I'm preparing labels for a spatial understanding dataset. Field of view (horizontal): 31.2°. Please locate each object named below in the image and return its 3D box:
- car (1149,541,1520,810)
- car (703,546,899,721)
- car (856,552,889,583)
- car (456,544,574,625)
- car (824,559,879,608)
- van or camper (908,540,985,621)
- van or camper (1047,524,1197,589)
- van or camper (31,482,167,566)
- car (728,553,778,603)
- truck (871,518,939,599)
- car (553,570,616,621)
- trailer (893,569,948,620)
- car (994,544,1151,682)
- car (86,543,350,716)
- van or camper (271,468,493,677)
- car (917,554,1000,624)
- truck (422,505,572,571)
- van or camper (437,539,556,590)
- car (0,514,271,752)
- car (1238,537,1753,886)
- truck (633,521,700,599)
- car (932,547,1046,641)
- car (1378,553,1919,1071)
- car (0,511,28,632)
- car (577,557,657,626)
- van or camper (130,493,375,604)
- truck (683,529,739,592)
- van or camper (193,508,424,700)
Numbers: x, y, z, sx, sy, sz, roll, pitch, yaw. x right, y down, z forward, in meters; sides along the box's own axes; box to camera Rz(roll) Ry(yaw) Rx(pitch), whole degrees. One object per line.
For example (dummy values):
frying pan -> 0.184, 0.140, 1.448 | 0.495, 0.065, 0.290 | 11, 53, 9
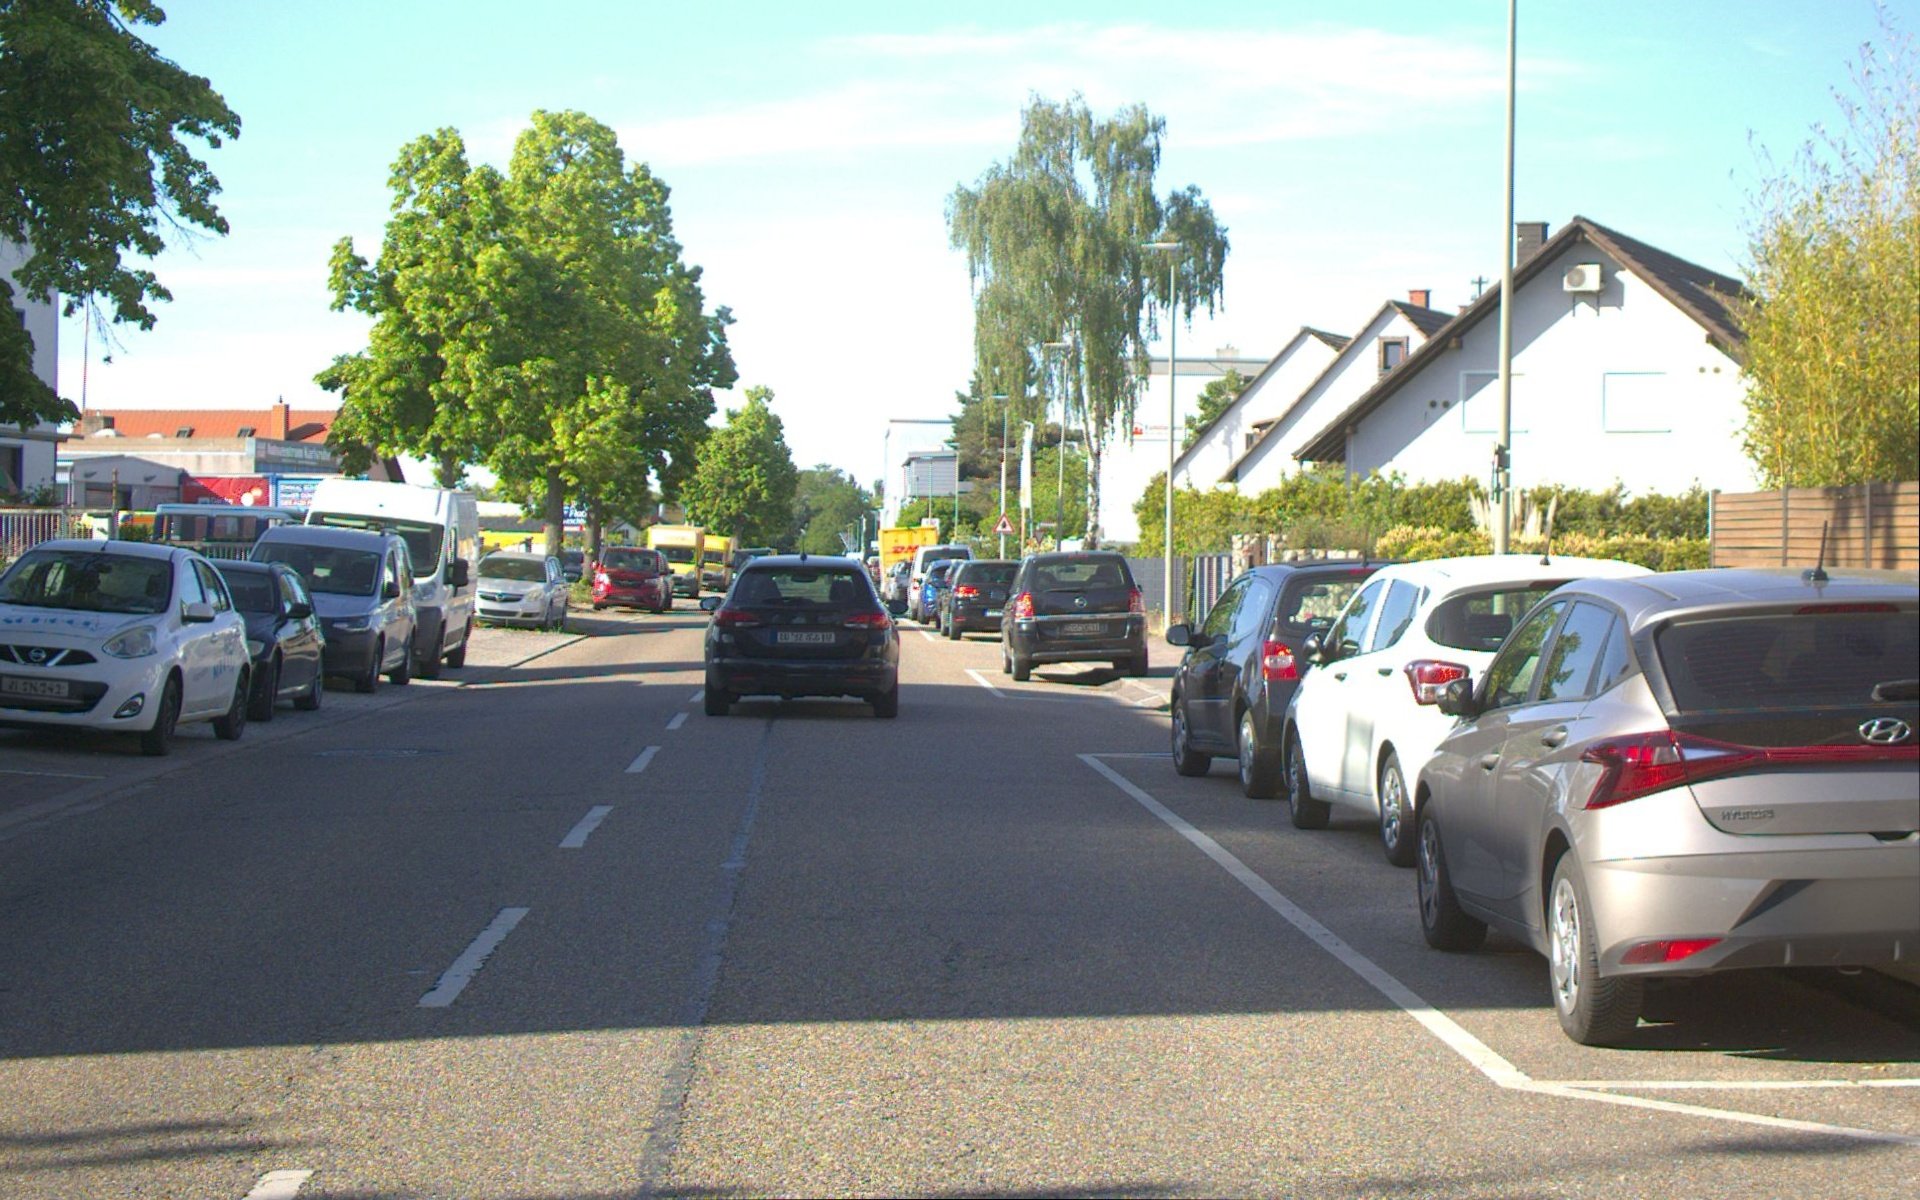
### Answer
car -> 2.397, 0.439, 22.922 | 1.656, 1.595, 3.817 | 2, 1, -6
car -> -1.443, 0.281, 32.318 | 1.711, 1.527, 3.687 | 1, 1, -1
car -> -5.369, -1.962, 210.476 | 1.919, 1.819, 4.080 | 1, 0, -2
car -> -8.637, -0.317, 66.969 | 1.687, 1.430, 4.209 | 4, 1, 0
car -> -3.744, -0.558, 119.446 | 1.819, 1.664, 3.643 | 0, 0, -1
van or camper -> -0.354, -0.486, 84.286 | 1.718, 1.884, 4.180 | 2, 0, -2
van or camper -> 6.718, -1.796, 142.621 | 5.812, 2.533, 2.290 | 1, 0, -28
van or camper -> -29.166, -2.541, 116.679 | 2.165, 2.706, 6.267 | 1, 0, 8
car -> -8.494, -0.895, 141.290 | 1.894, 2.024, 4.818 | 0, 0, -2
truck -> -2.121, -1.544, 130.343 | 2.402, 2.927, 7.017 | -1, 0, -2
car -> -12.854, -0.141, 117.766 | 1.861, 1.584, 4.276 | 1, -2, -3
trailer -> -1.232, -0.184, 106.344 | 1.627, 1.533, 3.198 | 1, 0, -1
car -> 1.416, 0.137, 44.723 | 1.776, 1.653, 4.304 | 2, 1, -1
car -> -6.919, 0.233, 32.442 | 1.609, 1.430, 4.313 | 4, 1, -2
van or camper -> -7.610, -0.379, 45.801 | 2.122, 2.481, 5.556 | 4, 0, -3
car -> -0.062, -0.254, 78.050 | 1.718, 1.499, 3.564 | 2, 0, -2
truck -> -19.958, -2.668, 148.312 | 5.924, 2.559, 2.223 | 3, 0, 10
van or camper -> -19.506, -1.490, 144.788 | 4.544, 2.007, 2.250 | 1, 0, 5
car -> -6.495, 0.194, 25.871 | 1.693, 1.560, 3.907 | 4, 1, 0
car -> 2.685, 0.506, 18.112 | 1.724, 1.595, 3.817 | 2, 1, -6
truck -> -11.955, -1.620, 140.385 | 2.402, 2.973, 7.246 | 3, 0, -3
car -> 0.512, -0.132, 64.068 | 1.775, 1.653, 3.817 | 2, 0, -4
car -> 2.589, 0.598, 11.898 | 1.642, 1.489, 3.890 | 1, 1, -2
car -> -13.704, -0.404, 41.905 | 1.613, 1.508, 4.378 | 2, 1, 38
car -> -9.352, -0.246, 93.987 | 1.803, 1.746, 4.342 | 3, 0, -2
van or camper -> -16.049, -1.152, 78.067 | 4.895, 2.312, 2.242 | 2, 0, 11
truck -> -12.425, -1.928, 171.736 | 2.402, 2.973, 6.374 | 3, 0, -2
van or camper -> -7.347, 0.018, 39.160 | 1.877, 2.007, 4.279 | 2, 0, -2
